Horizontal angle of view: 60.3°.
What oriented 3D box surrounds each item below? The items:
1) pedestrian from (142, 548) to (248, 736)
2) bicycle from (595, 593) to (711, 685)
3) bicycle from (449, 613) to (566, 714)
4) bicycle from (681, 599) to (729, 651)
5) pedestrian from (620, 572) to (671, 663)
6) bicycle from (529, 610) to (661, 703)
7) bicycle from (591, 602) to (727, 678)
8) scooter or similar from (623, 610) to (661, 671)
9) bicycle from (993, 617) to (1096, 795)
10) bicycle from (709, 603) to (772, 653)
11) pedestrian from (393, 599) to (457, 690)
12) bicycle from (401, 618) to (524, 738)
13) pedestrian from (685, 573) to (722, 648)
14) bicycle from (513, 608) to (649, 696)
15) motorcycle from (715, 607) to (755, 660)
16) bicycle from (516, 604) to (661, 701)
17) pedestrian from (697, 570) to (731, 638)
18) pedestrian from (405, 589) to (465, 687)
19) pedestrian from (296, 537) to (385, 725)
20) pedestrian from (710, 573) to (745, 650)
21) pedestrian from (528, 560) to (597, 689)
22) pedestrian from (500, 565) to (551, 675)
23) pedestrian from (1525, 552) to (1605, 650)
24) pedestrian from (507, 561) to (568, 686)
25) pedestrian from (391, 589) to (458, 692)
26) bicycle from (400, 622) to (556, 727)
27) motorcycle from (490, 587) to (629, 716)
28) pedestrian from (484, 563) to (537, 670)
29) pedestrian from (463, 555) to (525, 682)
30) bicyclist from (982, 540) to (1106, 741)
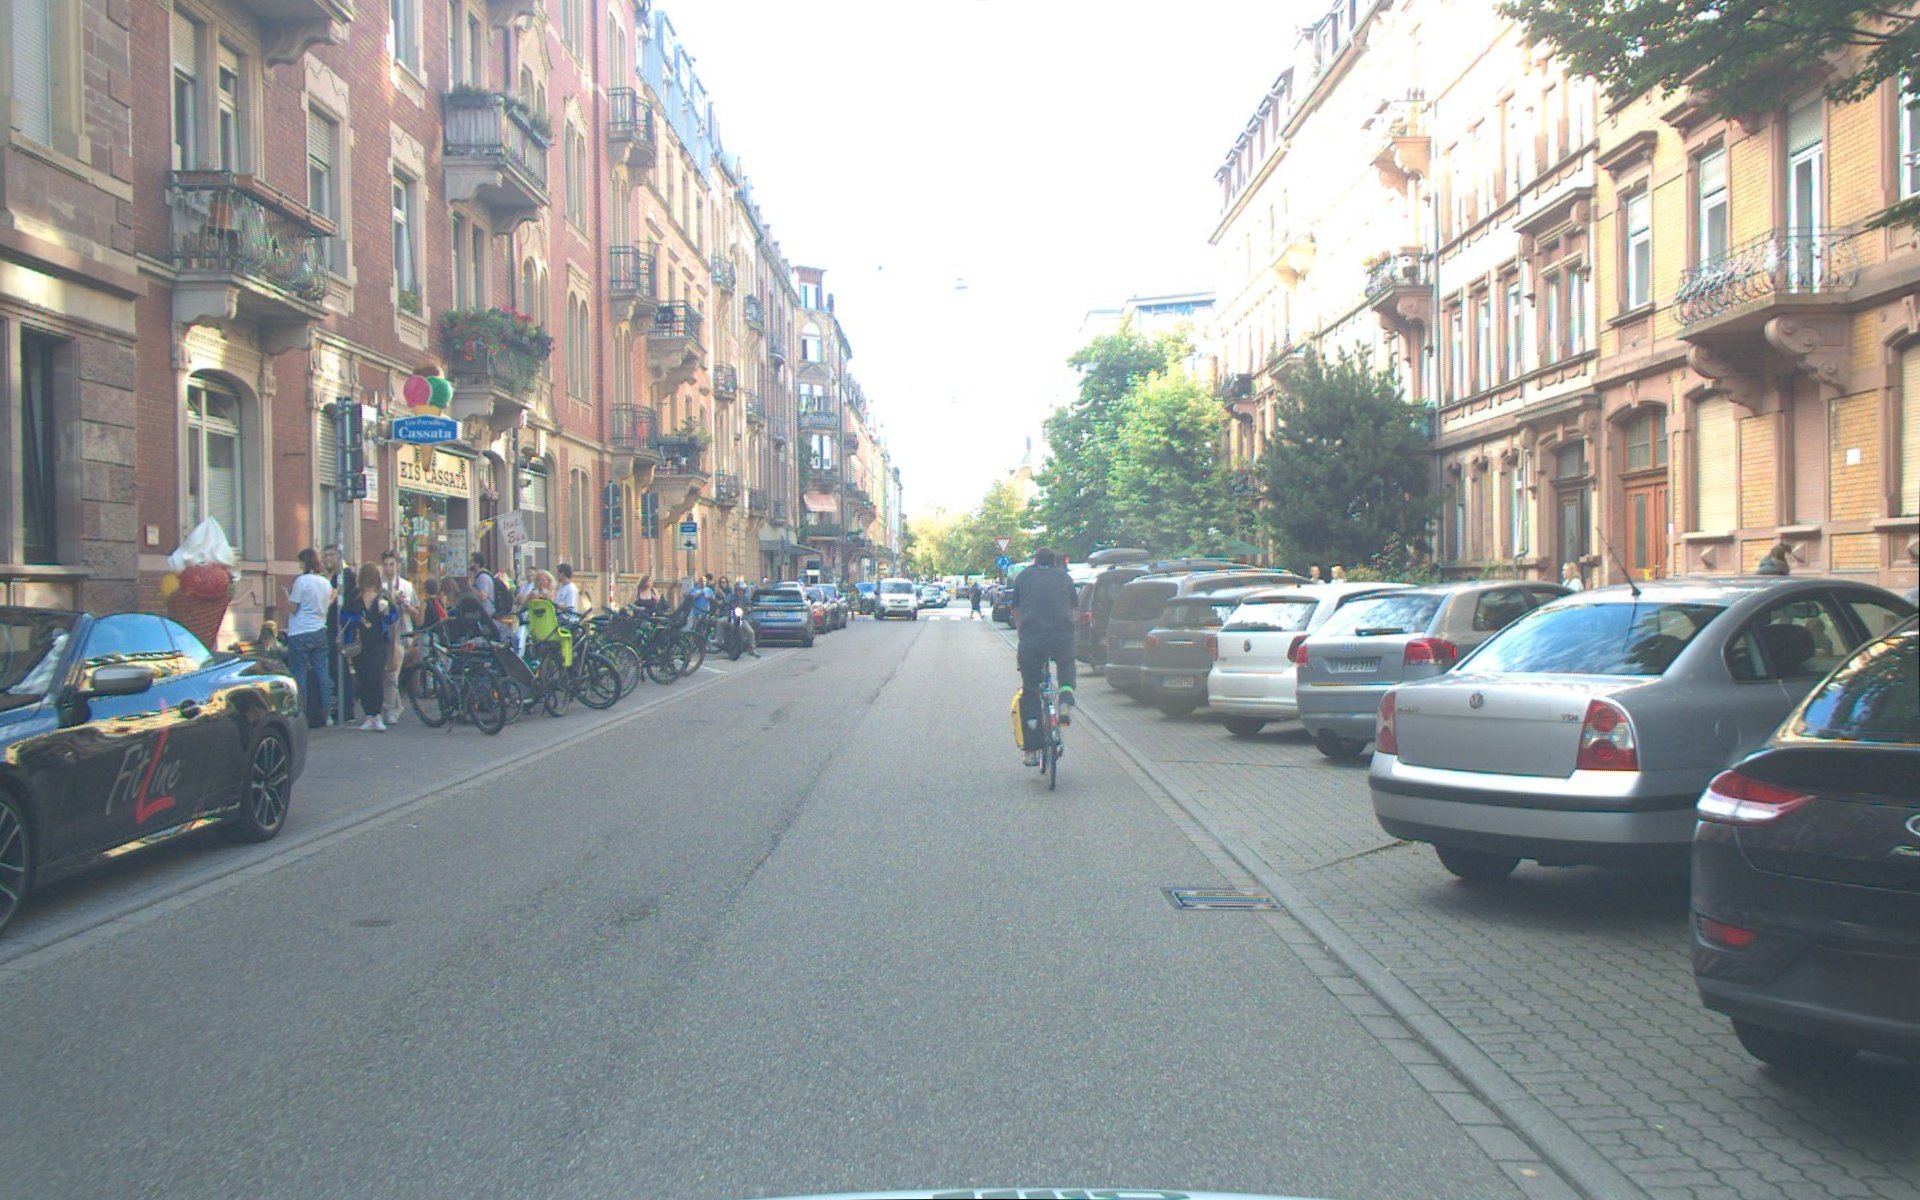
[{"bbox_3d":[-7.481,0.398,16.188,0.675,1.790,0.664,1,0,29],"label":"pedestrian"},{"bbox_3d":[-4.602,0.571,24.839,1.659,1.345,0.521,0,0,-37],"label":"bicycle"},{"bbox_3d":[-5.286,0.718,19.423,0.566,1.109,1.740,1,0,12],"label":"bicycle"},{"bbox_3d":[-5.656,0.552,36.754,0.482,1.114,1.906,1,0,9],"label":"bicycle"},{"bbox_3d":[-5.925,0.327,31.163,0.894,1.690,0.826,0,0,-9],"label":"pedestrian"},{"bbox_3d":[-4.649,0.704,21.111,1.553,1.140,0.583,0,0,-37],"label":"bicycle"},{"bbox_3d":[-4.879,0.630,26.993,0.792,1.179,2.261,1,0,36],"label":"bicycle"},{"bbox_3d":[-5.836,0.734,30.384,0.593,1.073,0.921,1,0,-6],"label":"scooter or similar"},{"bbox_3d":[0.620,0.754,12.835,0.652,1.198,2.497,0,0,0],"label":"bicycle"},{"bbox_3d":[-4.916,0.621,37.080,0.472,1.078,1.903,1,0,23],"label":"bicycle"},{"bbox_3d":[-7.268,0.595,22.484,0.694,1.217,0.585,0,0,-4],"label":"pedestrian"},{"bbox_3d":[-5.004,0.759,16.585,1.551,1.136,0.372,1,0,39],"label":"bicycle"},{"bbox_3d":[-5.893,0.234,37.961,0.672,1.690,0.546,0,0,-30],"label":"pedestrian"},{"bbox_3d":[-5.096,0.676,22.310,1.719,1.140,0.548,0,0,-37],"label":"bicycle"},{"bbox_3d":[-4.629,0.672,34.141,0.778,1.012,2.496,0,0,-7],"label":"motorcycle"},{"bbox_3d":[-4.865,0.668,21.724,1.771,1.221,0.583,0,0,-37],"label":"bicycle"},{"bbox_3d":[-6.779,0.105,45.660,0.740,1.839,0.863,1,0,3],"label":"pedestrian"},{"bbox_3d":[-7.303,0.523,23.004,0.703,1.336,0.439,0,0,-5],"label":"pedestrian"},{"bbox_3d":[-6.514,0.314,17.399,0.634,1.925,0.600,1,0,29],"label":"pedestrian"},{"bbox_3d":[-5.314,0.261,37.836,0.559,1.739,0.659,0,0,-35],"label":"pedestrian"},{"bbox_3d":[-5.607,0.338,23.352,0.591,1.782,0.946,0,0,12],"label":"pedestrian"},{"bbox_3d":[-6.961,0.311,26.479,0.657,1.725,0.580,0,0,-31],"label":"pedestrian"},{"bbox_3d":[9.726,0.014,26.596,0.910,1.523,0.811,-2,1,-7],"label":"pedestrian"},{"bbox_3d":[-6.112,0.326,23.948,0.591,1.782,0.726,0,0,10],"label":"pedestrian"},{"bbox_3d":[-7.054,0.531,21.810,0.708,1.336,0.606,0,0,-4],"label":"pedestrian"},{"bbox_3d":[-5.074,0.766,17.389,1.646,1.048,0.409,0,0,20],"label":"bicycle"},{"bbox_3d":[-4.613,0.564,19.210,0.692,1.408,2.025,1,0,14],"label":"motorcycle"},{"bbox_3d":[-7.392,0.265,27.214,0.650,1.725,0.763,1,0,0],"label":"pedestrian"},{"bbox_3d":[-7.088,0.272,25.149,0.753,1.886,0.659,0,0,-31],"label":"pedestrian"},{"bbox_3d":[0.641,0.303,12.885,0.914,1.510,0.747,0,0,-1],"label":"bicyclist"}]
